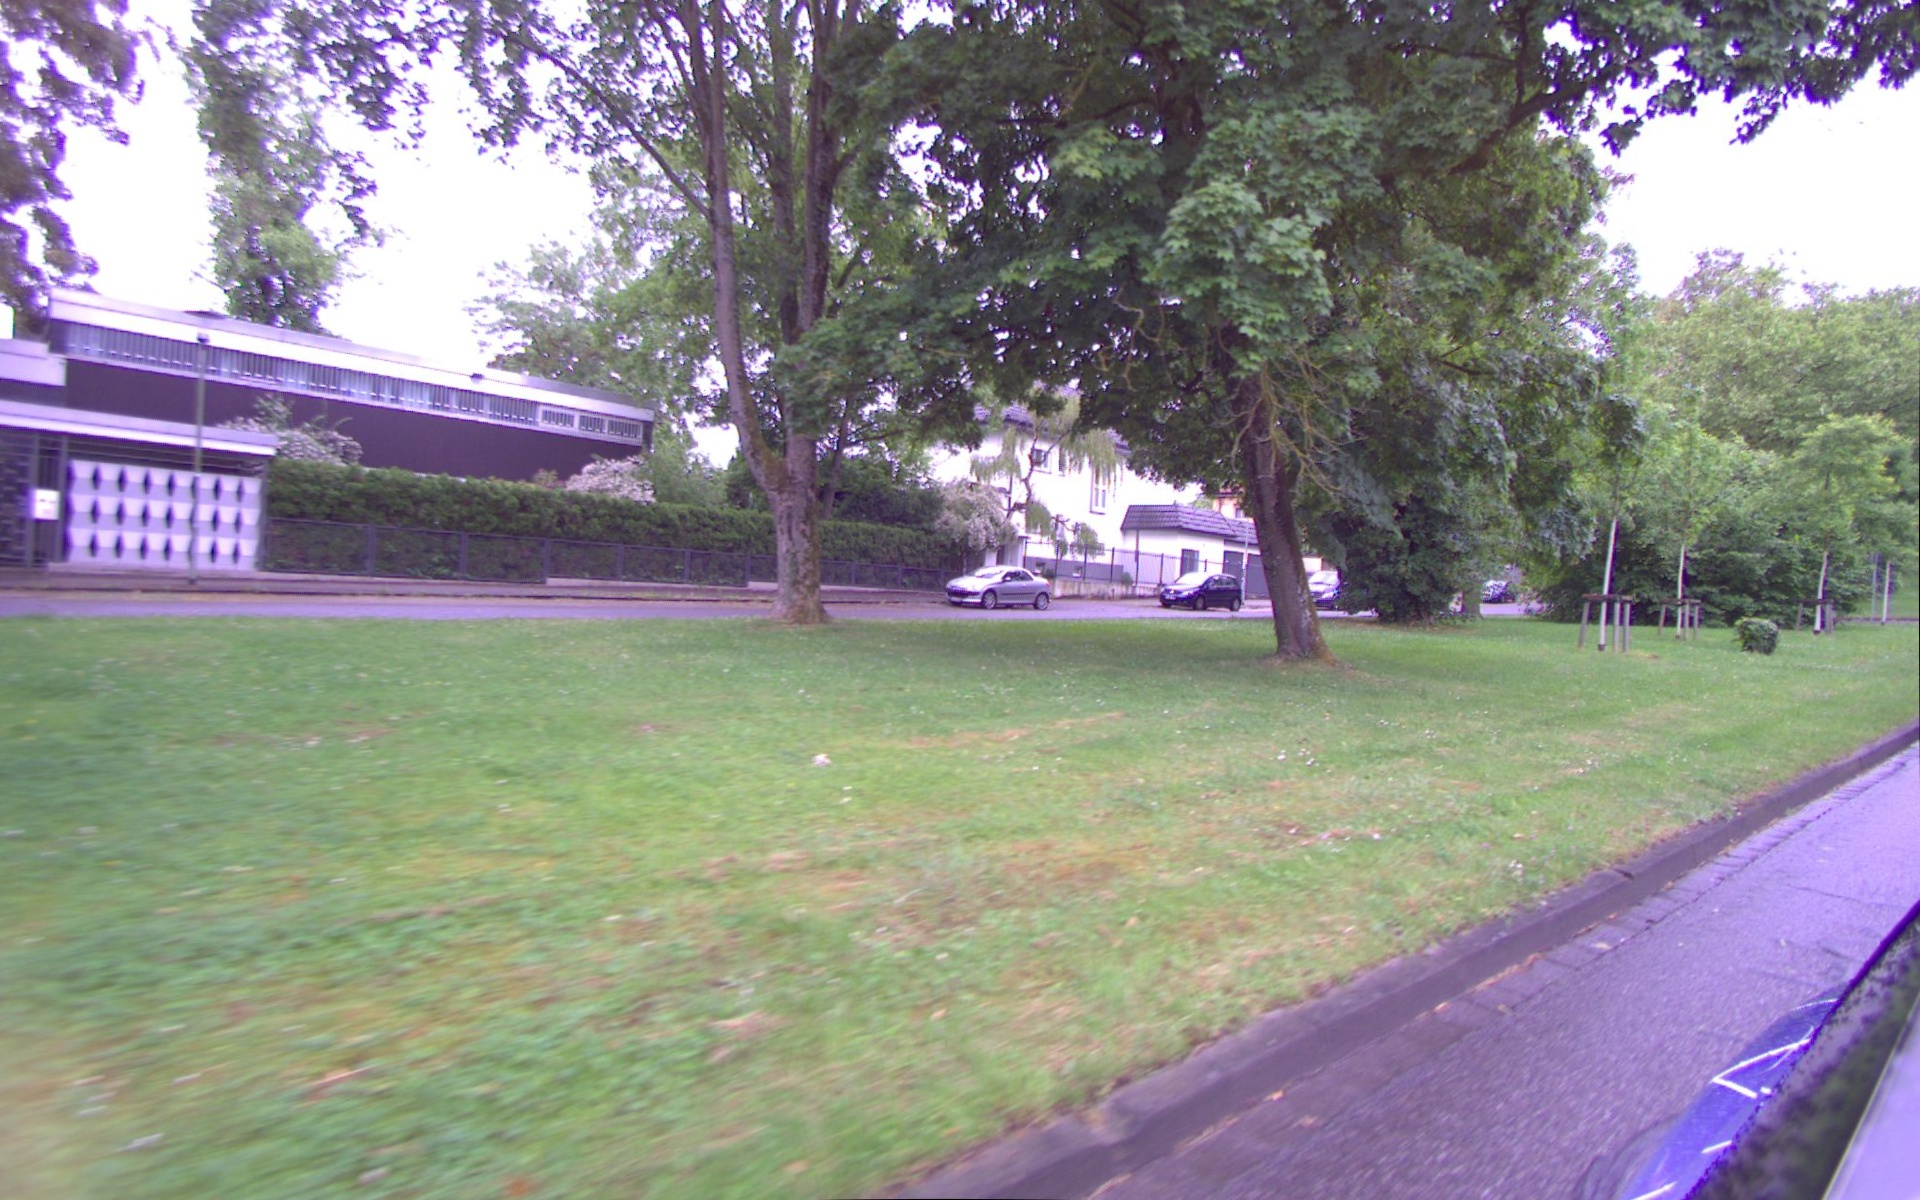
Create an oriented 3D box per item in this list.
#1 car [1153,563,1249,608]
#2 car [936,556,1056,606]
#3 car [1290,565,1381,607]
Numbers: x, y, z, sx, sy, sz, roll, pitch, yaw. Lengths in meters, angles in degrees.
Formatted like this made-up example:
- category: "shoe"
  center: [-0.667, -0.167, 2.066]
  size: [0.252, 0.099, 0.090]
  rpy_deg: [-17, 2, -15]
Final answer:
- category: "car"
  center: [9.743, -0.611, 40.835]
  size: [3.968, 1.644, 1.904]
  rpy_deg: [-1, 4, -44]
- category: "car"
  center: [1.182, -0.596, 32.222]
  size: [3.648, 1.392, 1.684]
  rpy_deg: [0, 5, -44]
- category: "car"
  center: [18.349, -0.712, 49.400]
  size: [4.986, 1.901, 2.162]
  rpy_deg: [-1, 4, -44]
